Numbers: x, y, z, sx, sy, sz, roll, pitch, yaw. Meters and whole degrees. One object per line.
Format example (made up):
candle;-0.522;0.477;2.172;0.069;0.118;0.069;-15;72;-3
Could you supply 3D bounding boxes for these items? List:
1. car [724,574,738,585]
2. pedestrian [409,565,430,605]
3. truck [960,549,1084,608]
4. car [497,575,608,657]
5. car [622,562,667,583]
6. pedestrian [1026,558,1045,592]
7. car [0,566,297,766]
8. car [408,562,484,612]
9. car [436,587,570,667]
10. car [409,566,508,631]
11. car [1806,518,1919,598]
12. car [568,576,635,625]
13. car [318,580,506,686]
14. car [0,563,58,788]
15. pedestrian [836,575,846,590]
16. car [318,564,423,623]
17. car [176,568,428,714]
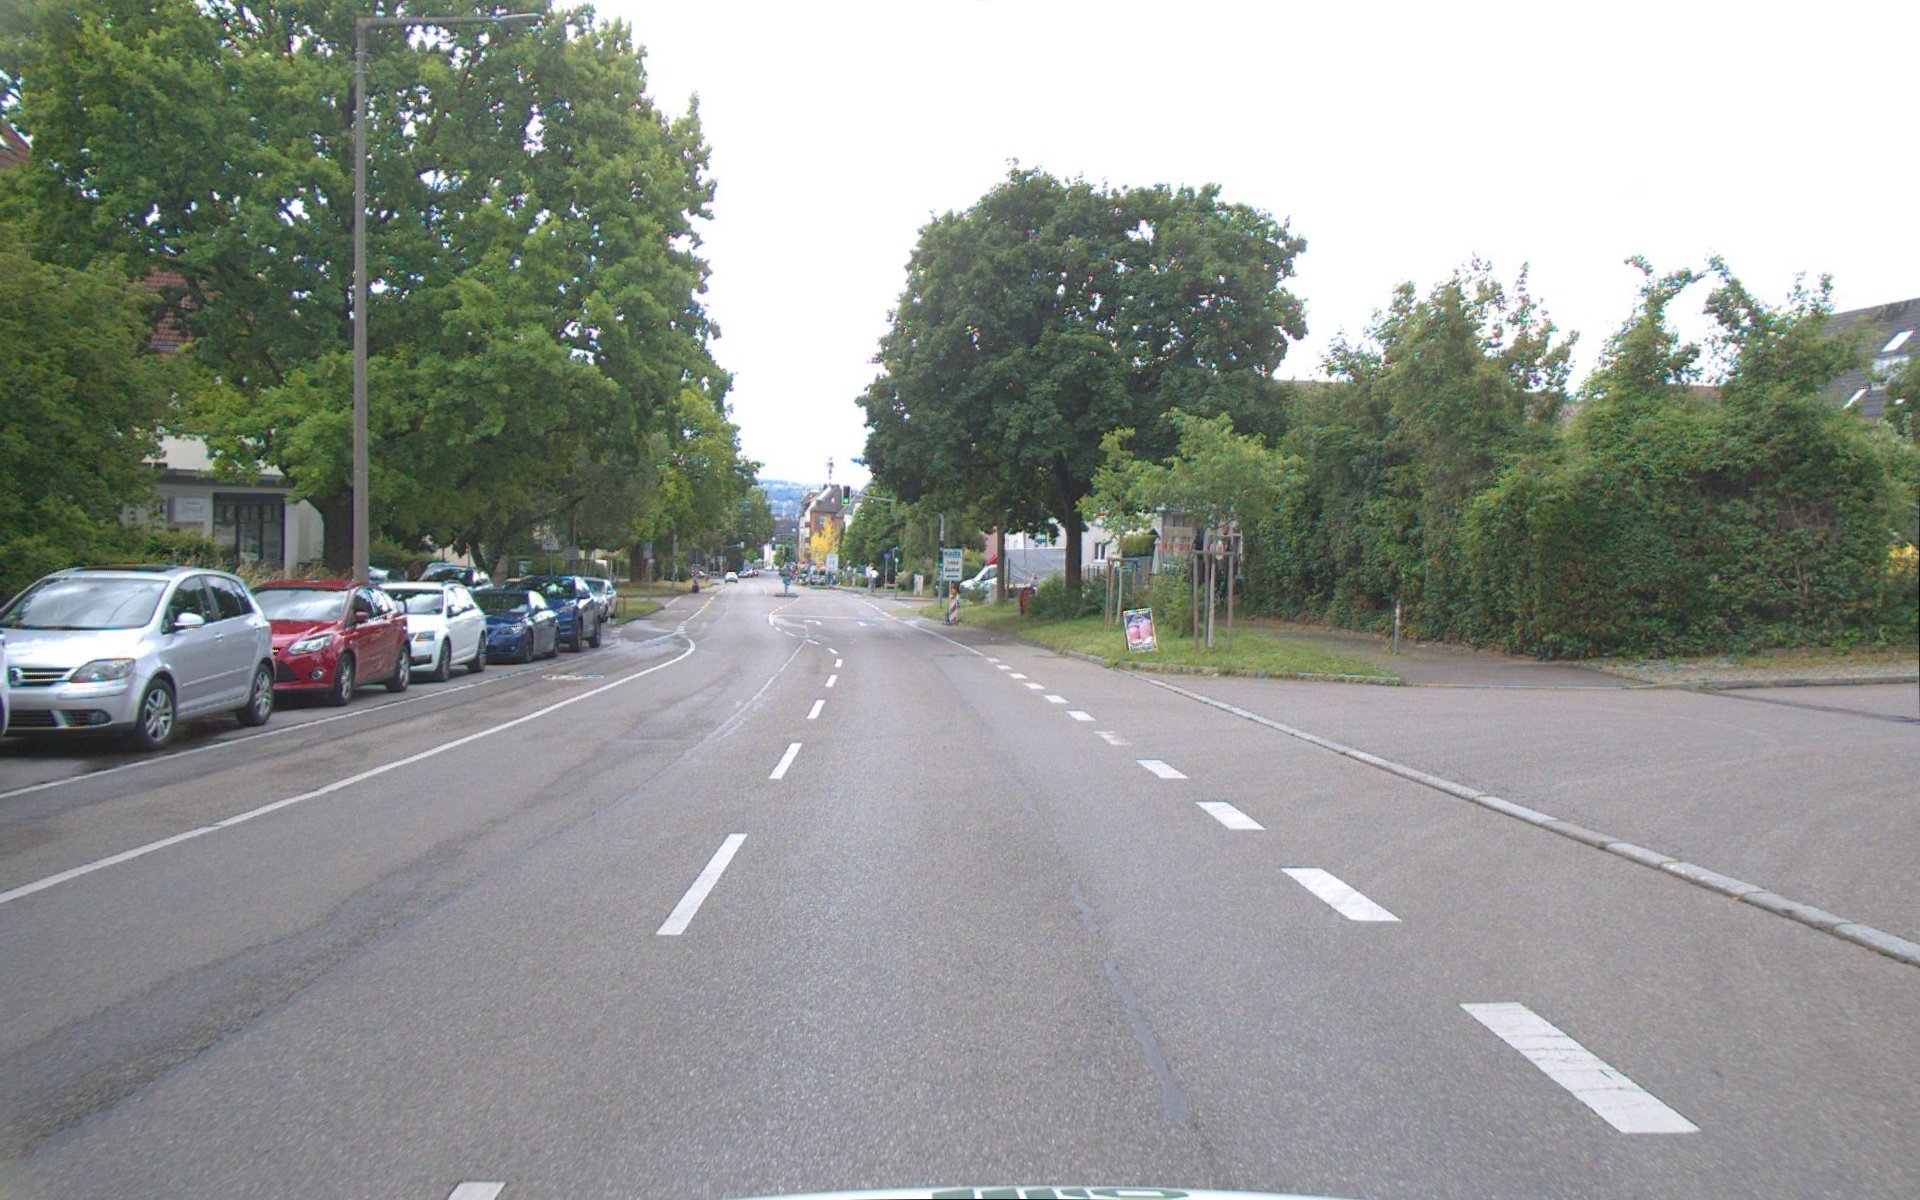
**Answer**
car;-32.847;-2.896;237.386;1.956;1.531;3.993;2;1;-8
pedestrian;-22.282;-0.624;68.188;0.618;1.641;0.828;2;0;-9
truck;3.696;-1.292;99.728;7.092;3.364;2.535;1;1;-8
car;-9.168;0.316;37.541;1.681;1.640;4.531;2;2;-4
car;-25.644;-2.219;134.530;3.385;1.624;1.996;2;0;-9
pedestrian;4.213;-1.422;92.506;0.737;1.887;0.949;-2;2;-21
car;-7.822;0.512;15.432;1.832;1.600;4.116;2;0;-4
car;-18.259;-0.488;58.943;1.727;1.661;4.283;2;1;-6
car;-8.773;0.475;32.078;1.681;1.413;4.334;1;0;-4
car;-14.374;-0.071;47.584;1.727;1.661;3.998;4;0;-3
car;20.806;-0.890;36.127;3.917;1.680;1.994;2;1;33
car;-13.037;-0.014;60.380;1.727;1.661;4.748;2;1;-5
car;-8.532;0.467;26.166;1.681;1.485;4.752;2;0;-4
car;-7.678;0.536;10.112;1.731;1.600;4.759;0;0;0
pedestrian;-15.397;-2.301;214.224;1.177;1.841;1.299;2;0;-6
car;-17.003;-0.210;47.887;1.727;1.496;4.436;4;0;-5
car;-8.112;0.451;20.814;1.681;1.600;4.367;2;0;-4
